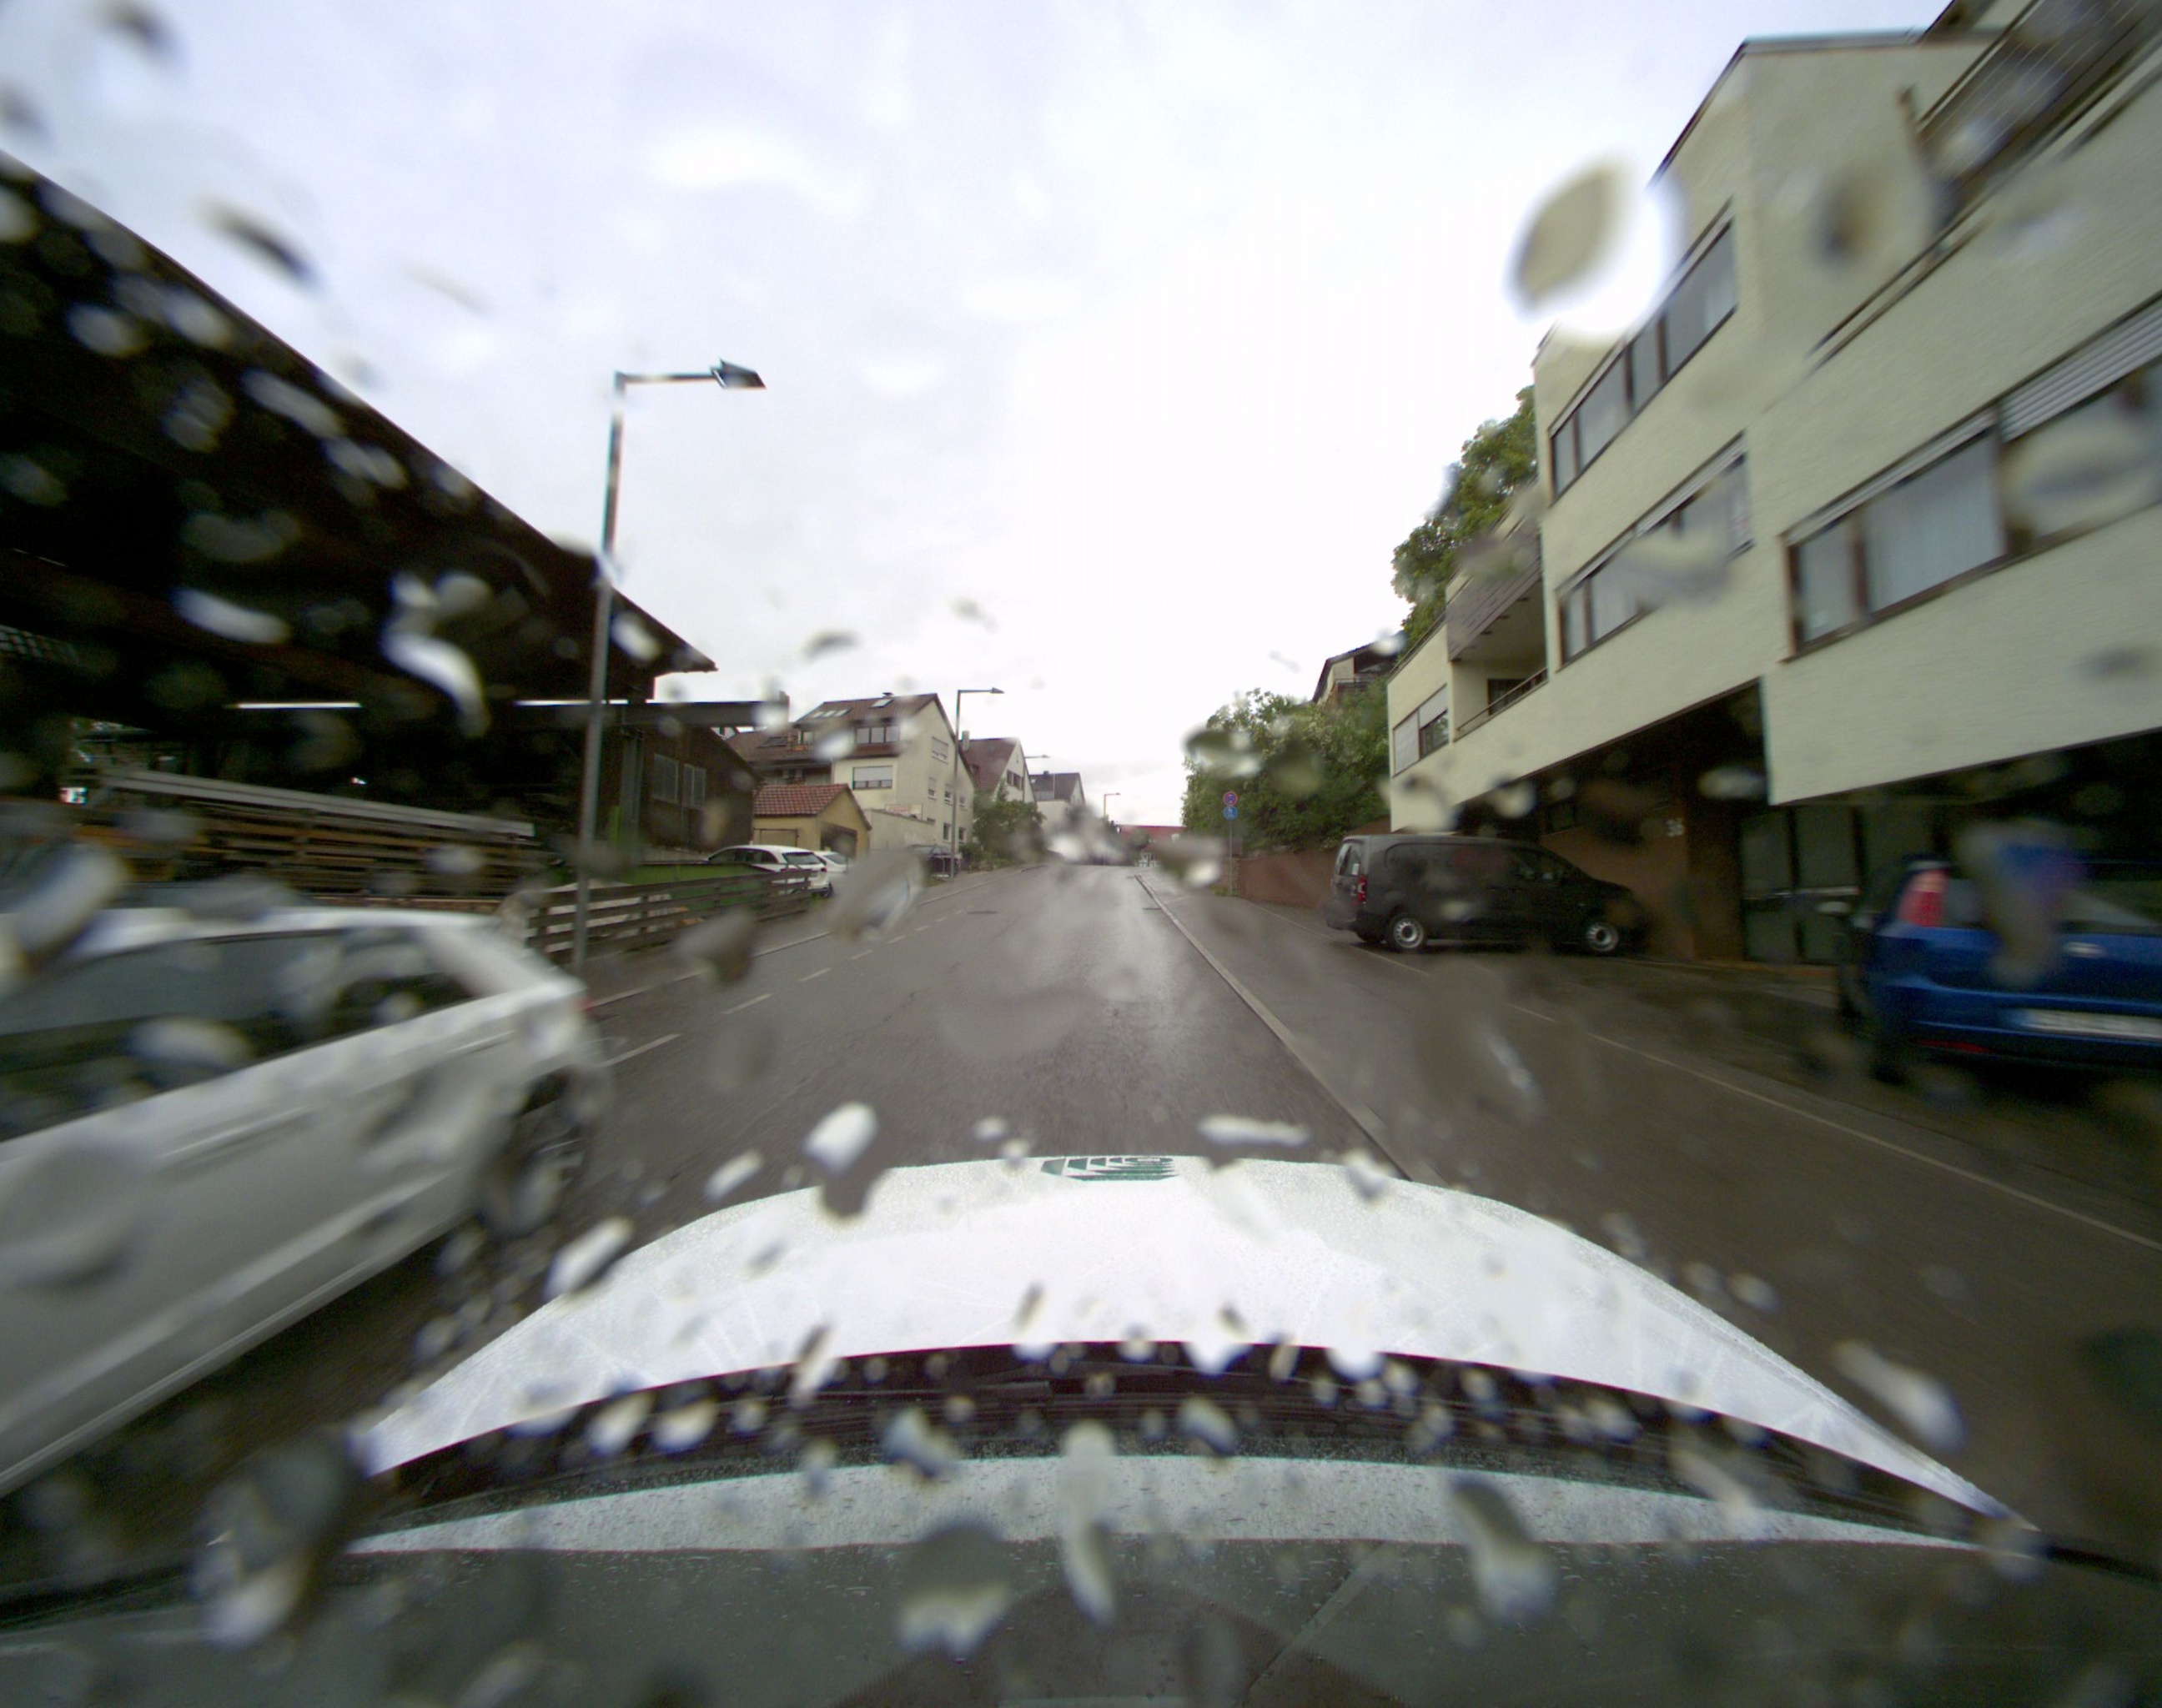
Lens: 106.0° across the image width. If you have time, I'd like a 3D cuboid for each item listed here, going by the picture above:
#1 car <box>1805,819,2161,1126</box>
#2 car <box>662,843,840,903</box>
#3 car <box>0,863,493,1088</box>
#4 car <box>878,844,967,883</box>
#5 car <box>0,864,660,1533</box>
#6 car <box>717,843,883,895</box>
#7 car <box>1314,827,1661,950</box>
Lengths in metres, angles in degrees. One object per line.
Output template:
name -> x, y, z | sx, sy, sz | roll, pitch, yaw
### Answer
car -> 6.607, 0.640, 5.979 | 1.765, 1.578, 4.092 | 2, 0, 40
car -> -8.685, 0.474, 21.550 | 3.959, 1.505, 1.908 | 0, 0, 13
car -> -7.972, 0.855, 7.336 | 1.886, 1.441, 4.450 | -2, 0, 4
car -> -7.065, 0.394, 36.823 | 1.959, 1.659, 4.982 | 0, 0, 15
car -> -3.101, 0.752, 2.202 | 1.696, 1.388, 4.051 | -2, -1, 1
car -> -8.552, 0.433, 24.905 | 4.464, 1.505, 1.908 | 0, 0, 13
car -> 6.412, 0.518, 13.296 | 4.690, 1.820, 2.001 | 0, 0, 1
